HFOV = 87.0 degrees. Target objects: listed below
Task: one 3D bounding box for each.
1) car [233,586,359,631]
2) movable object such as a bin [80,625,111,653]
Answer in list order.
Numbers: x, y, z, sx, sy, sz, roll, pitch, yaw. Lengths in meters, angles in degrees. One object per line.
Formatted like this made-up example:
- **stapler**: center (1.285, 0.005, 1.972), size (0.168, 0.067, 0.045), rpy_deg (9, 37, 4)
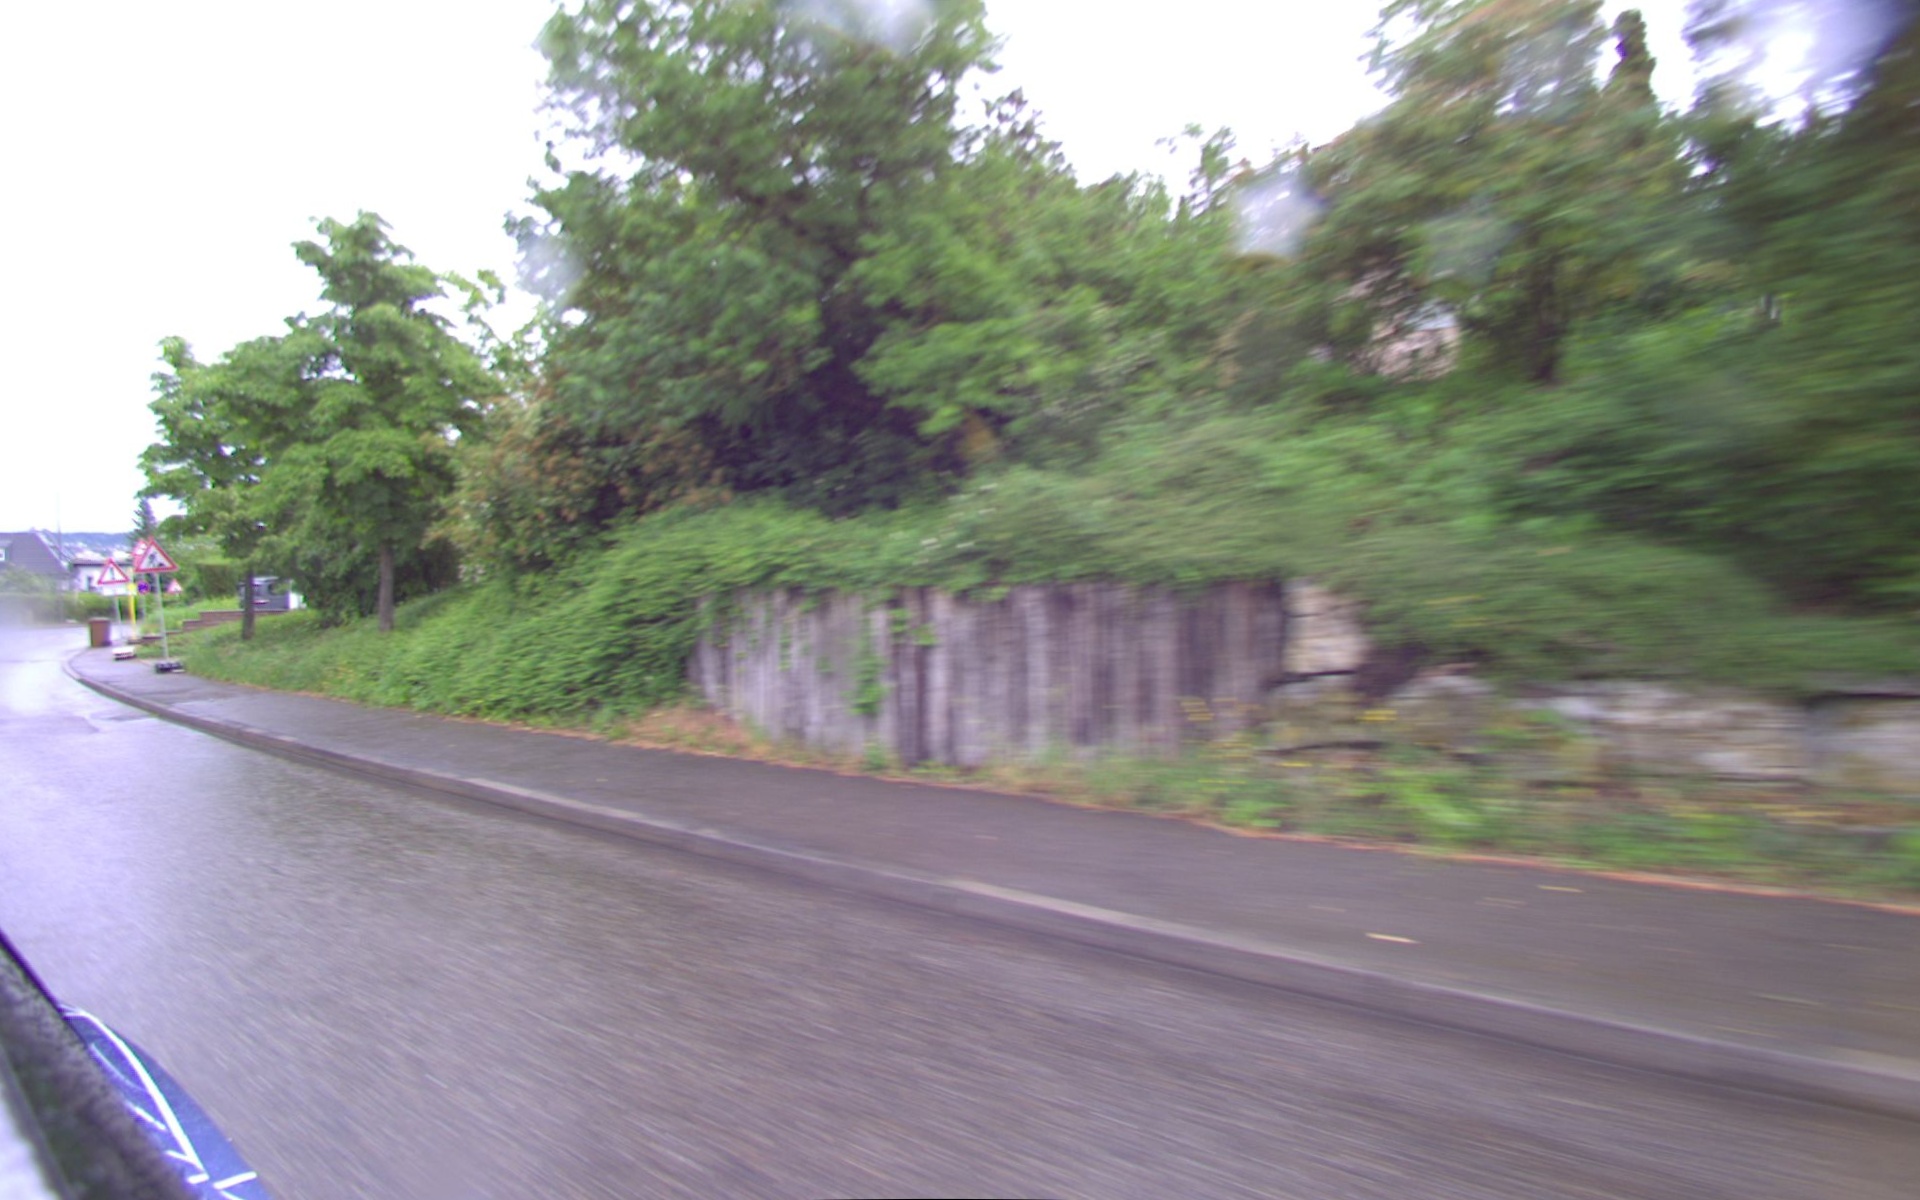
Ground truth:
- **car**: center (-27.386, 0.316, 41.806), size (1.961, 1.777, 3.948), rpy_deg (-1, 0, 38)
- **movable object such as a bin**: center (-32.770, 1.477, 38.375), size (0.869, 1.038, 0.804), rpy_deg (0, -1, -42)
